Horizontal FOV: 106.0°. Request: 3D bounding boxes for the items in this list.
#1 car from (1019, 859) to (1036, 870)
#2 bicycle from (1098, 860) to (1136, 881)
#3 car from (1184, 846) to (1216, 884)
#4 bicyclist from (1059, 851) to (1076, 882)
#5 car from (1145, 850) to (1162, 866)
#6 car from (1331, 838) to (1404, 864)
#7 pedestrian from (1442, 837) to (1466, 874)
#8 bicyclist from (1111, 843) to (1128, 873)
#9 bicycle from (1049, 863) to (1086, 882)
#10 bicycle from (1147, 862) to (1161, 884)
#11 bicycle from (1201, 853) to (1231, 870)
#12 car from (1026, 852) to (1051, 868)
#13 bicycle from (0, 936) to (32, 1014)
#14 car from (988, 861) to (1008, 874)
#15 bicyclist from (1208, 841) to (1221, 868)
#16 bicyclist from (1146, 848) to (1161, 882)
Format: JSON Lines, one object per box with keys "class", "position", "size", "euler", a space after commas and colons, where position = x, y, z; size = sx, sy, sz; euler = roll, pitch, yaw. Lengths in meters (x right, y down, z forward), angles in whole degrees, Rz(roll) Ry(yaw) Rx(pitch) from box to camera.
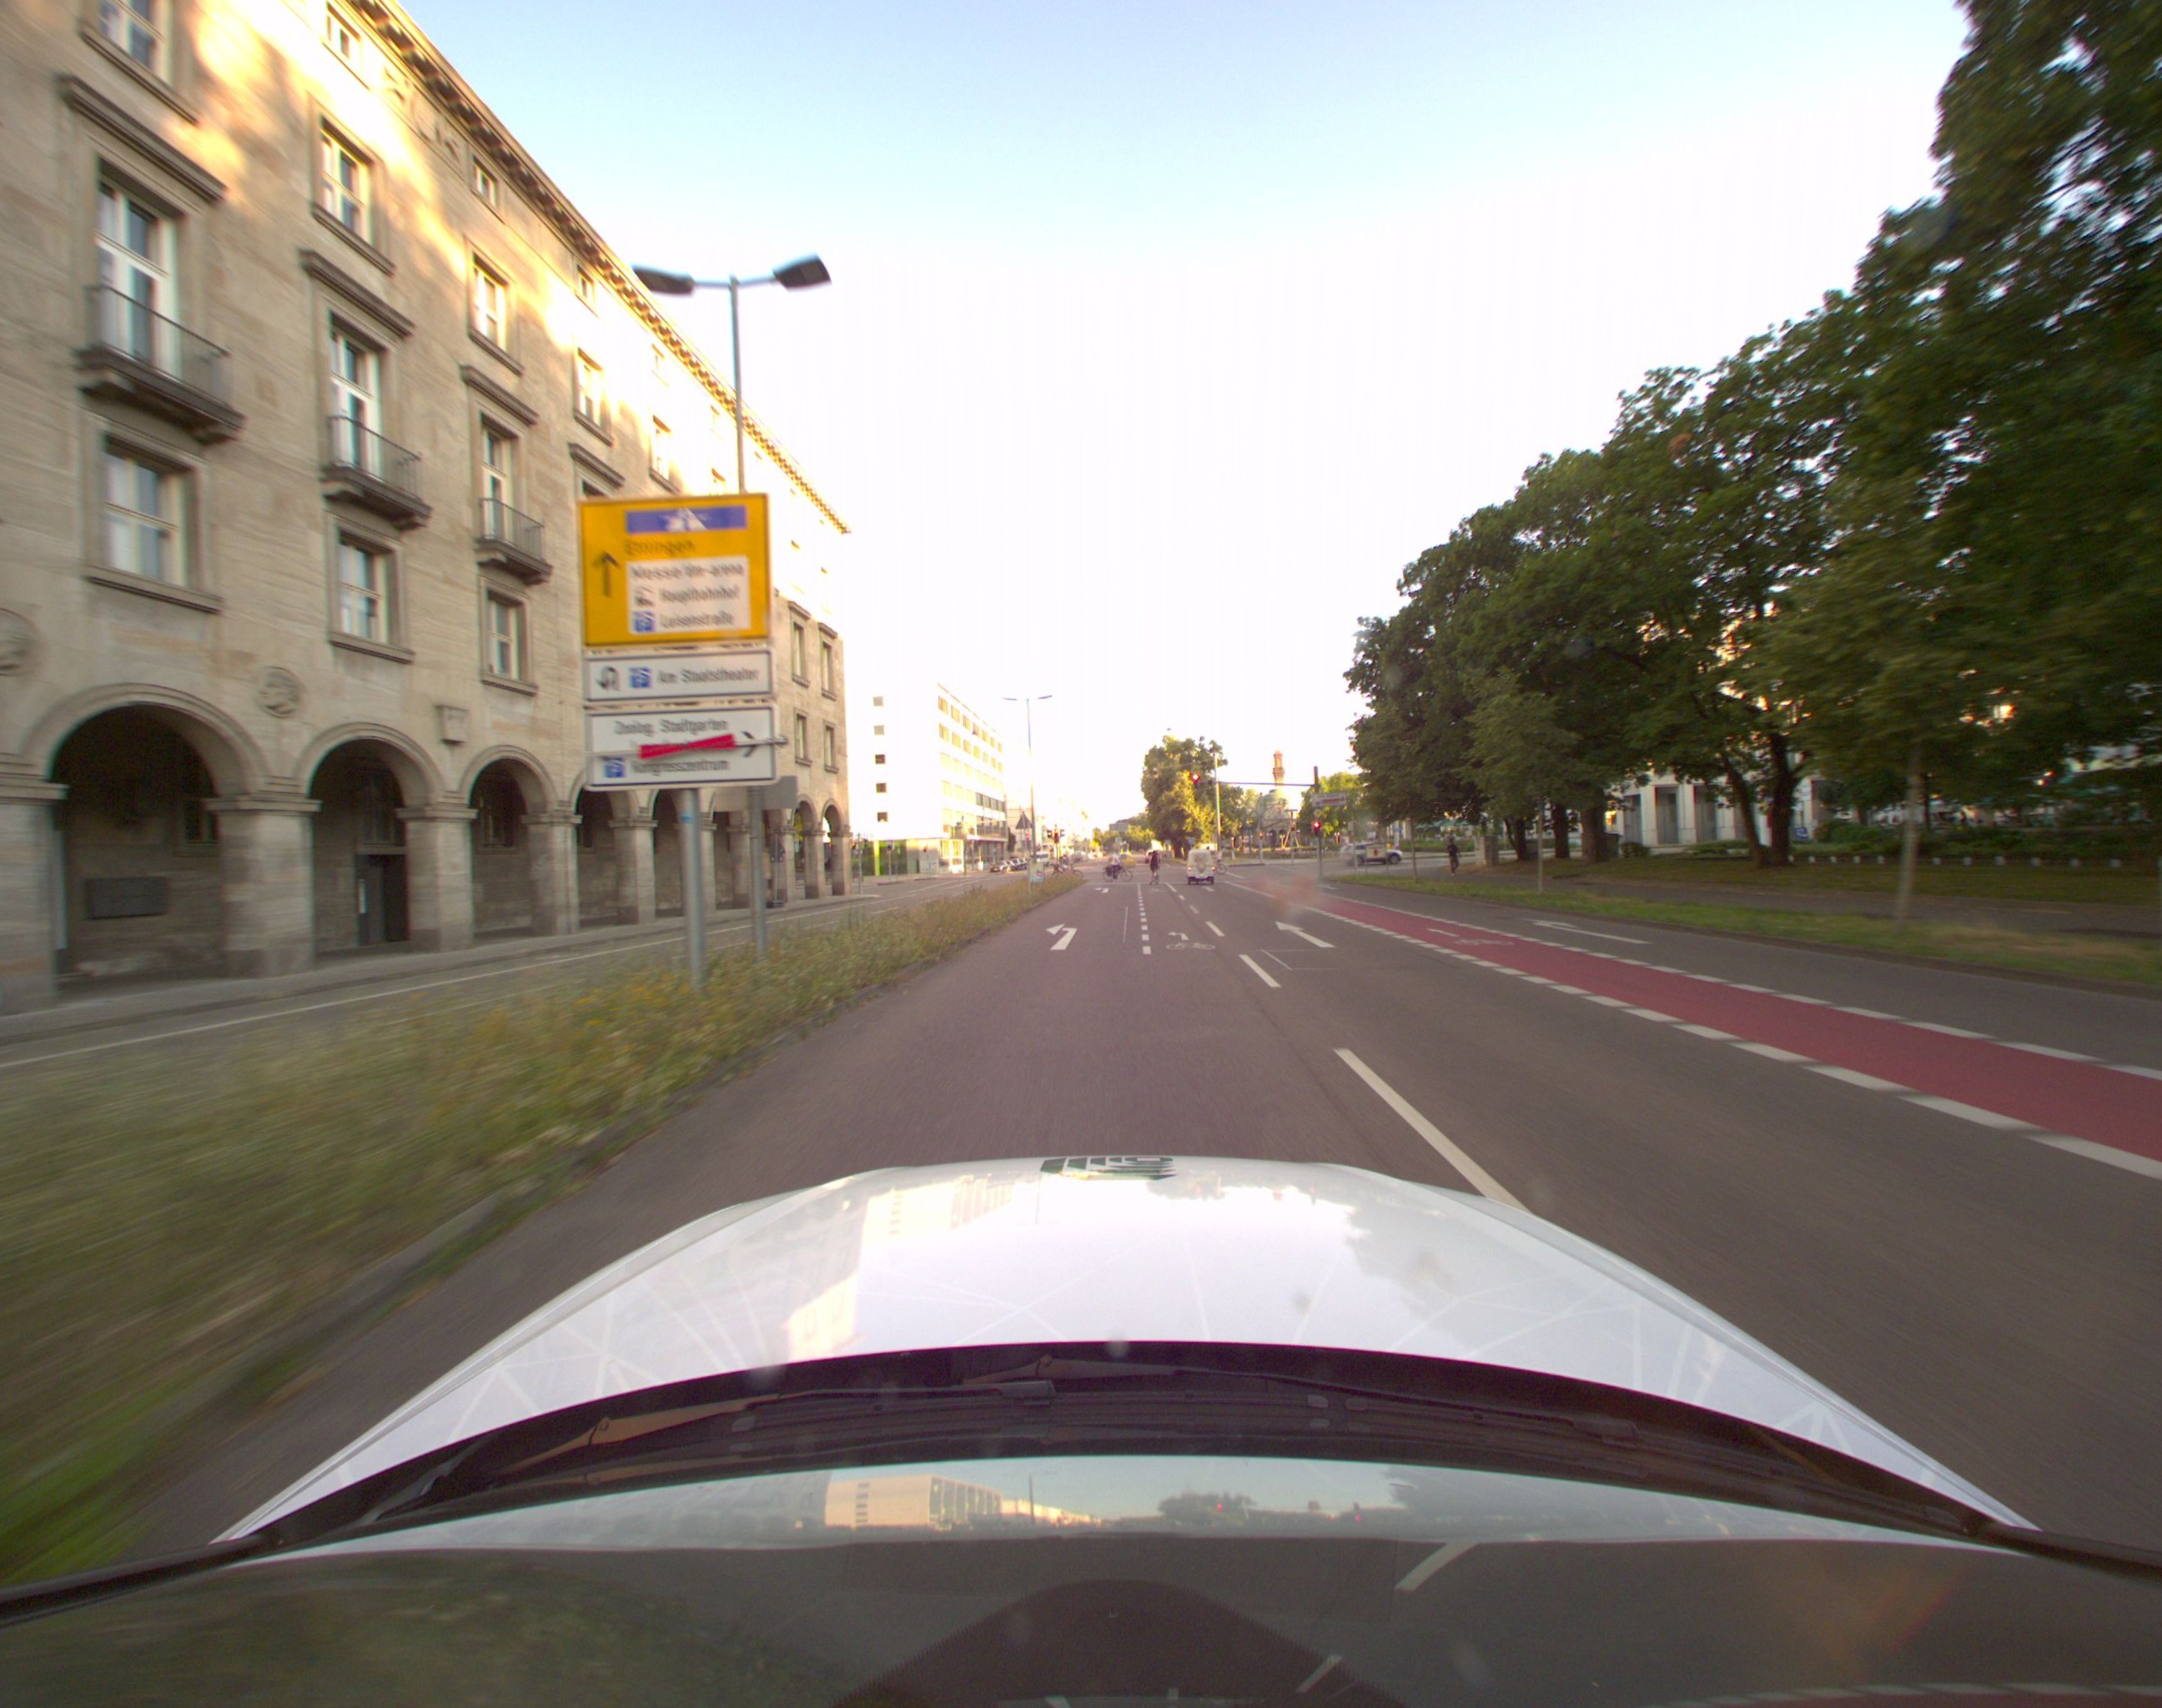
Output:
{"class": "car", "position": [-8.185, 1.604, 124.852], "size": [1.786, 1.475, 4.007], "euler": [-3, -2, 7]}
{"class": "bicycle", "position": [2.099, 0.957, 47.422], "size": [2.040, 1.069, 0.791], "euler": [-3, 0, 20]}
{"class": "car", "position": [6.011, 0.530, 41.178], "size": [1.452, 1.780, 2.569], "euler": [-2, 1, 6]}
{"class": "bicyclist", "position": [-0.759, 0.704, 46.330], "size": [0.742, 1.693, 0.717], "euler": [-3, -1, 8]}
{"class": "car", "position": [9.475, 0.500, 106.543], "size": [1.985, 2.013, 4.003], "euler": [-3, 0, 3]}
{"class": "car", "position": [20.548, -0.226, 58.569], "size": [4.525, 1.648, 1.997], "euler": [-3, 0, -5]}
{"class": "pedestrian", "position": [17.362, 0.078, 37.916], "size": [0.692, 1.693, 0.749], "euler": [-3, -1, 2]}
{"class": "bicyclist", "position": [2.229, 0.249, 47.364], "size": [0.740, 1.693, 0.769], "euler": [-3, -1, 20]}
{"class": "bicycle", "position": [-0.743, 1.047, 46.368], "size": [2.004, 1.069, 0.732], "euler": [0, -1, 7]}
{"class": "bicycle", "position": [3.743, 0.962, 41.876], "size": [0.634, 1.069, 2.071], "euler": [-2, 0, 4]}
{"class": "bicycle", "position": [8.903, 0.476, 53.710], "size": [1.887, 1.069, 0.732], "euler": [-2, -1, 6]}
{"class": "car", "position": [-6.892, 1.057, 131.396], "size": [2.160, 2.385, 6.012], "euler": [-3, -3, 15]}
{"class": "bicycle", "position": [-15.130, 1.664, 10.446], "size": [0.472, 1.005, 2.018], "euler": [-3, 0, 39]}
{"class": "car", "position": [-10.341, 1.733, 101.952], "size": [1.789, 1.475, 4.002], "euler": [-3, -2, 3]}
{"class": "bicyclist", "position": [8.817, 0.034, 53.719], "size": [0.742, 1.693, 0.716], "euler": [-3, -1, 6]}
{"class": "bicyclist", "position": [3.695, 0.541, 41.563], "size": [0.625, 1.693, 0.749], "euler": [-3, -1, 3]}
